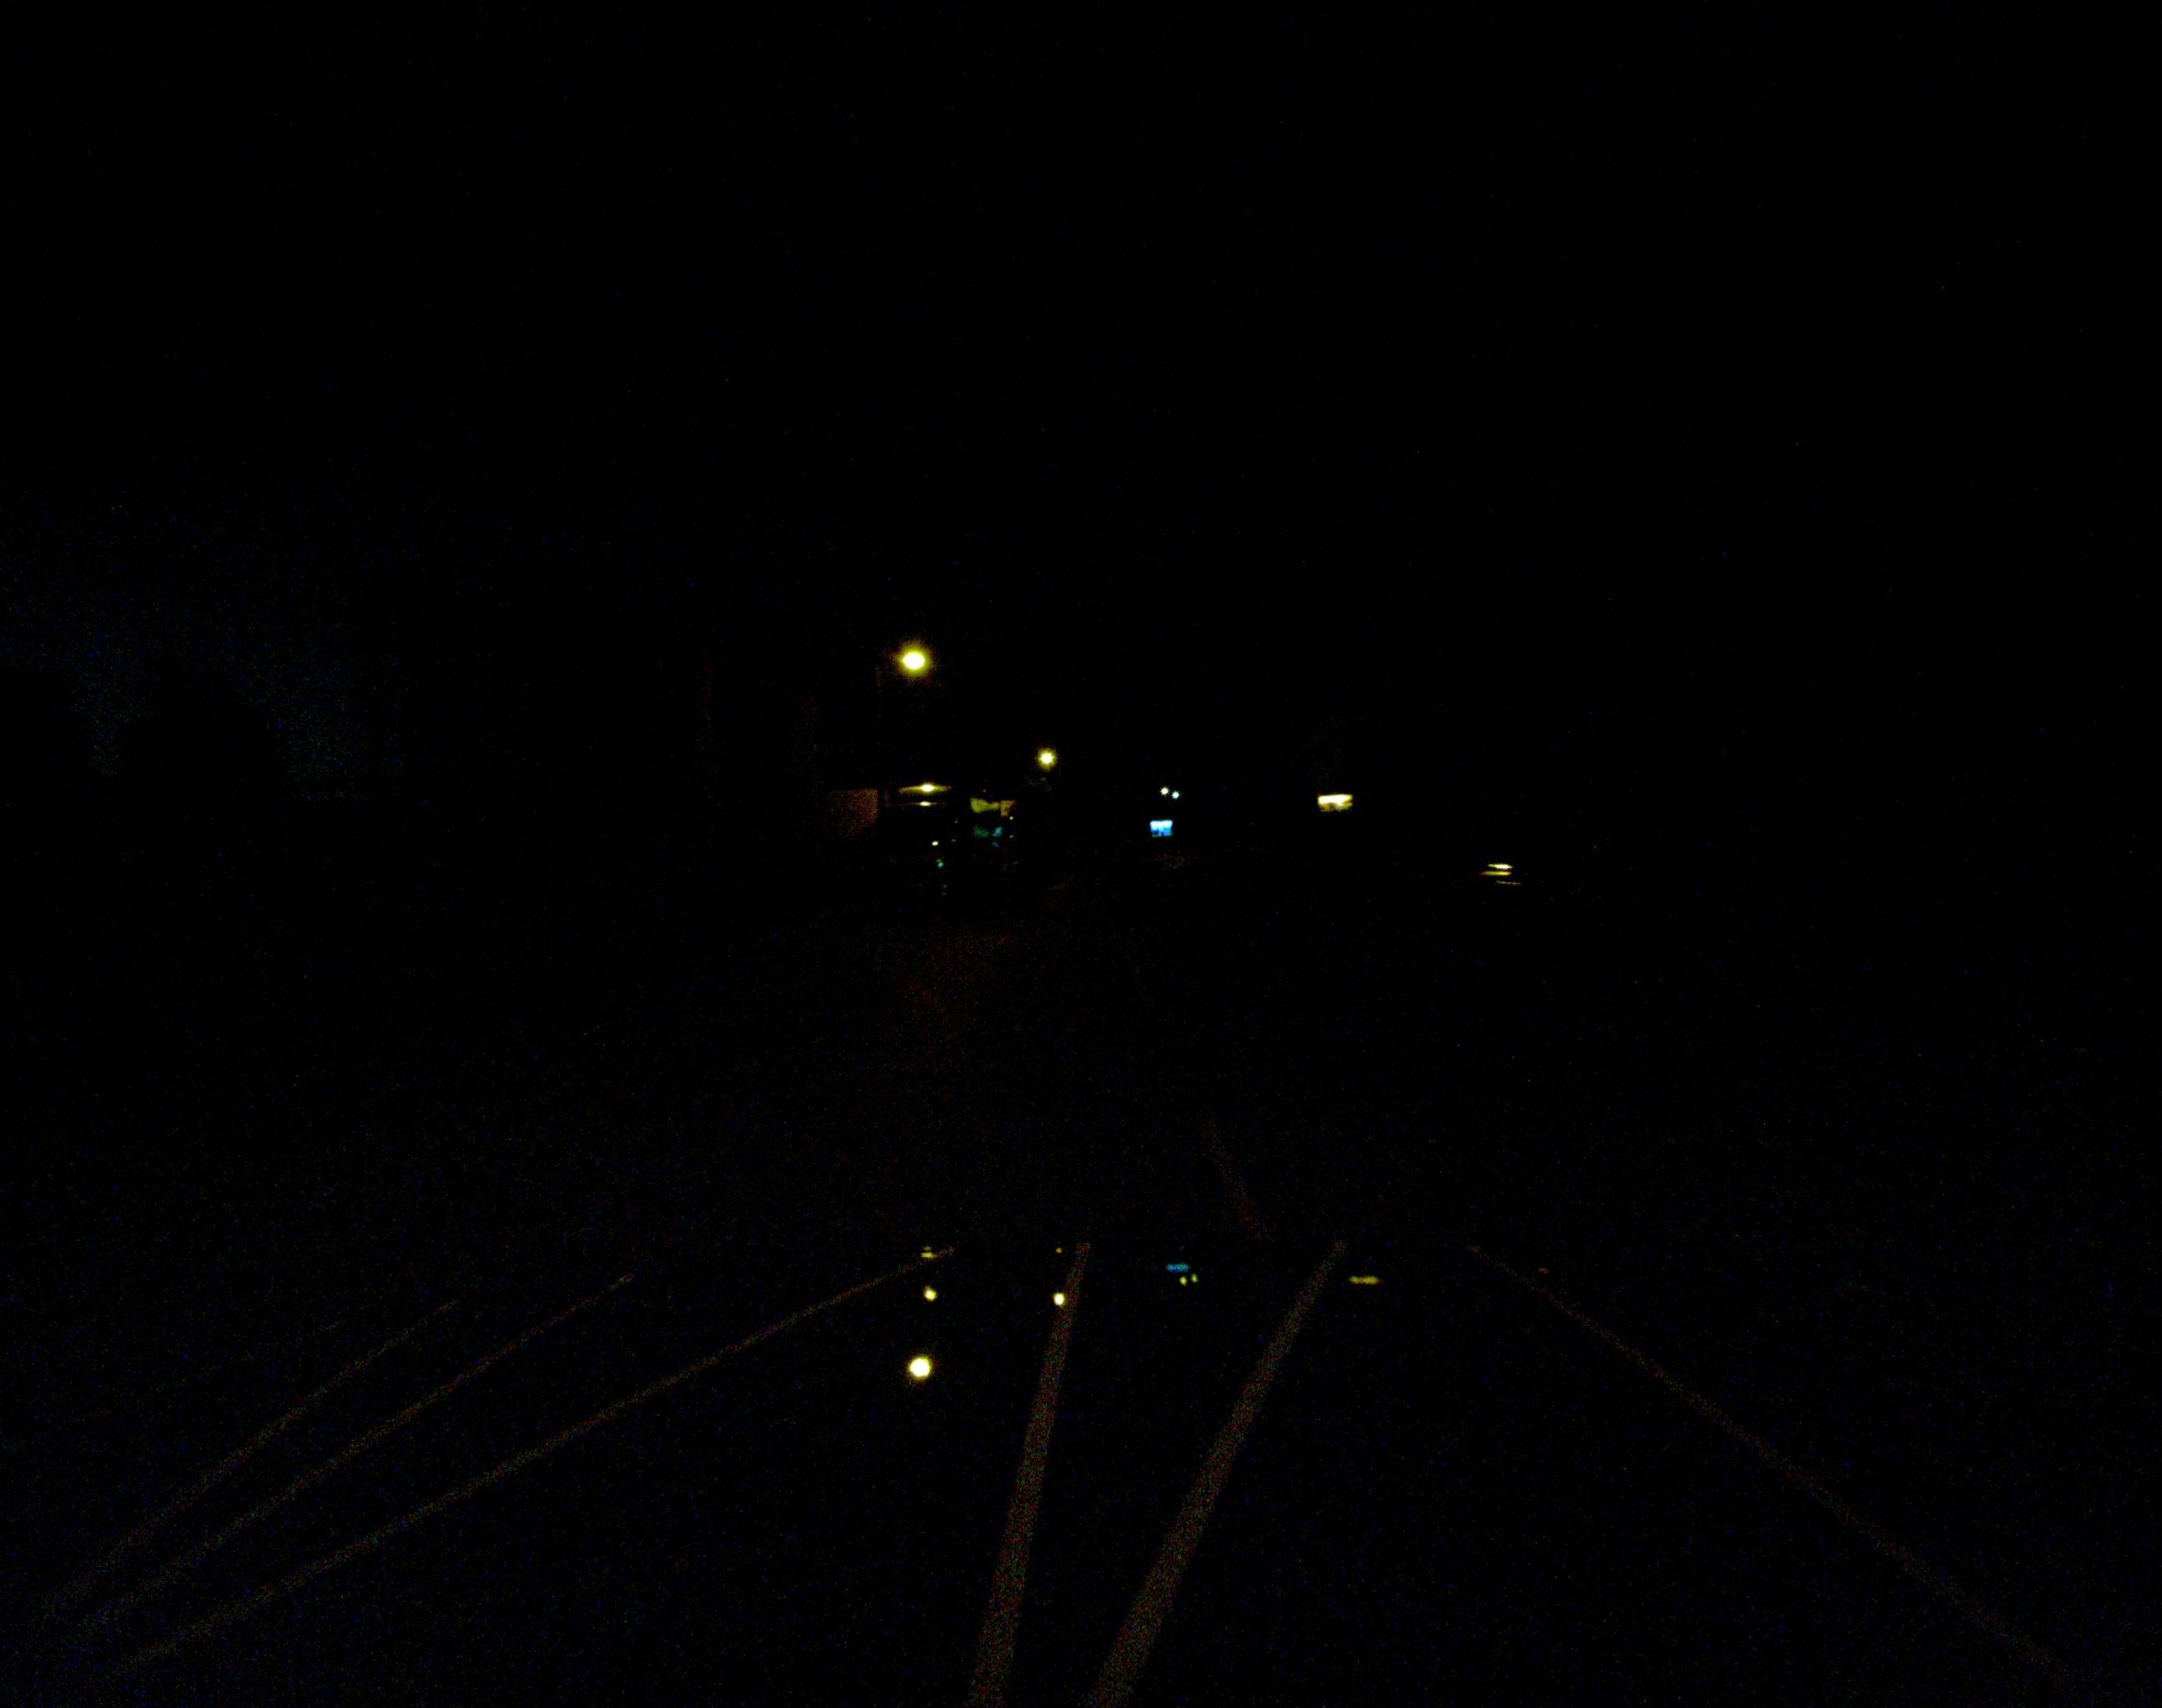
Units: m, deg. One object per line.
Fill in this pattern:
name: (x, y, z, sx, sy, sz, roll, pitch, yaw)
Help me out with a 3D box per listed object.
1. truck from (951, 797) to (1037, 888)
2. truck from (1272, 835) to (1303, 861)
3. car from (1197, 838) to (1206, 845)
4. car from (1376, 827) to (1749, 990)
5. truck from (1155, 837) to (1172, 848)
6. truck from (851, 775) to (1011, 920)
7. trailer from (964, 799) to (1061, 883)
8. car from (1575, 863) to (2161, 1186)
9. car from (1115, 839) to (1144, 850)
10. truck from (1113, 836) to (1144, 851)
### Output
truck: (-4.068, -0.540, 36.776, 2.836, 3.960, 6.051, -1, 1, 6)
truck: (16.481, -0.517, 60.818, 1.997, 1.889, 5.320, -3, 1, 12)
car: (29.339, -3.100, 184.520, 1.938, 1.543, 4.003, -3, 1, 12)
car: (6.051, 0.553, 10.458, 1.999, 1.627, 4.772, -3, 1, -1)
truck: (17.520, -2.473, 160.736, 2.381, 2.271, 7.751, -2, 1, 16)
truck: (-4.617, -0.246, 26.149, 2.836, 3.960, 10.343, -1, 1, 3)
trailer: (-3.481, -0.711, 43.268, 2.814, 3.960, 13.978, -1, 1, 6)
car: (5.688, 0.803, 5.469, 1.606, 1.346, 4.000, -3, 0, 0)
car: (9.473, -1.855, 147.747, 5.079, 1.826, 1.991, -2, 1, 19)
truck: (9.093, -1.955, 145.151, 5.538, 2.585, 2.475, -2, 1, 16)
